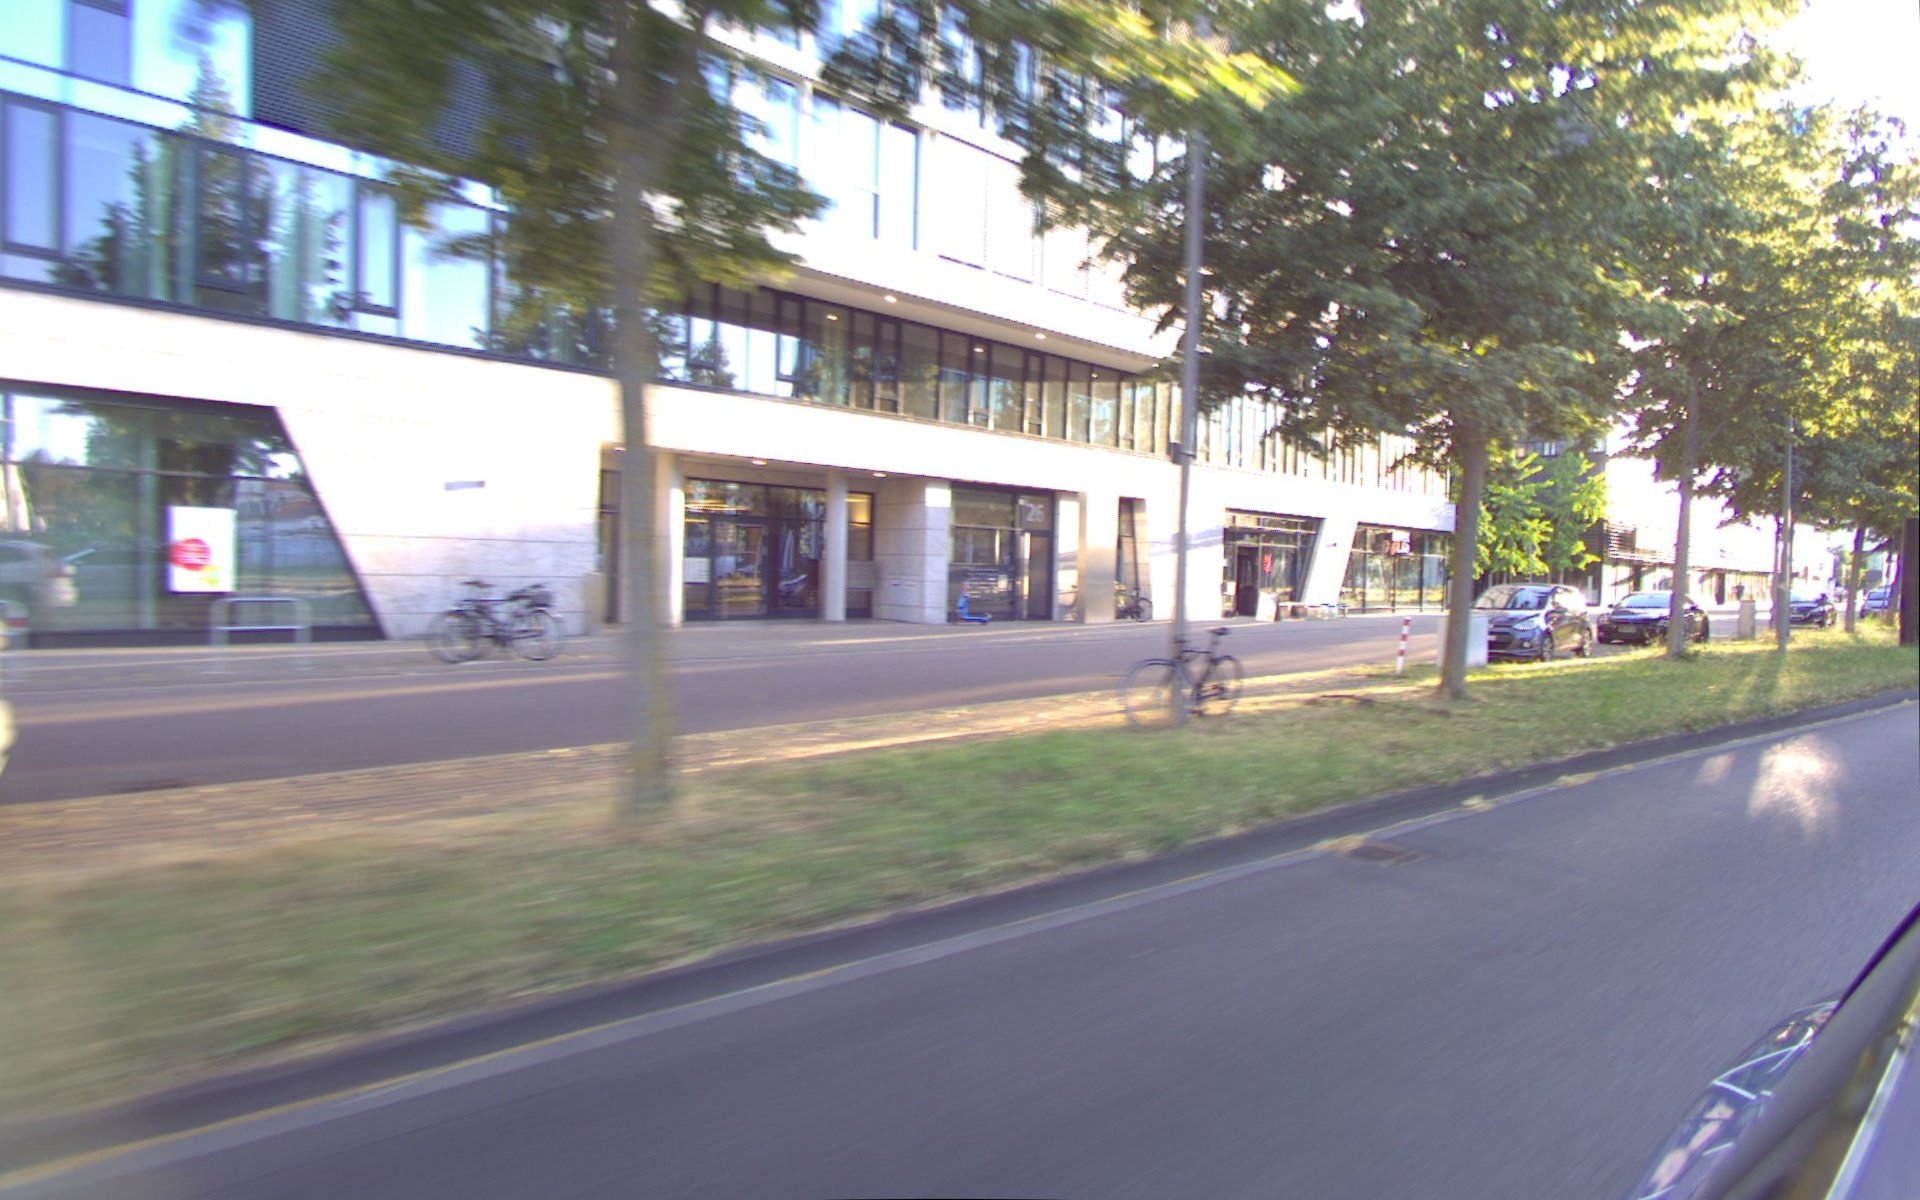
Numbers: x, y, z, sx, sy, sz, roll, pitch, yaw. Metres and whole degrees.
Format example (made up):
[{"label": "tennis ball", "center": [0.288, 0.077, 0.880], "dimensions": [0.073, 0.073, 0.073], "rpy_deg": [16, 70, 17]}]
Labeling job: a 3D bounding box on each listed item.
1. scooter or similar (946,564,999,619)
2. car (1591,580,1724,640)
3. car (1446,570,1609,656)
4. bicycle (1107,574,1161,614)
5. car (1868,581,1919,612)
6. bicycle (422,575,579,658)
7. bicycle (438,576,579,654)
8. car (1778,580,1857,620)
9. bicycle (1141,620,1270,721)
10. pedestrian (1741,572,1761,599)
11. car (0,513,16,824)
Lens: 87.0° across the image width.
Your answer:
[{"label": "scooter or similar", "center": [0.304, -0.206, 23.620], "dimensions": [1.207, 1.226, 0.473], "rpy_deg": [0, 2, -40]}, {"label": "car", "center": [18.141, 0.194, 26.228], "dimensions": [4.753, 1.384, 1.855], "rpy_deg": [-1, 2, -43]}, {"label": "car", "center": [11.190, 0.218, 19.880], "dimensions": [3.695, 1.534, 1.712], "rpy_deg": [0, 0, -42]}, {"label": "bicycle", "center": [4.731, -0.159, 27.493], "dimensions": [1.364, 1.040, 0.456], "rpy_deg": [1, 2, -14]}, {"label": "car", "center": [51.305, -0.217, 55.473], "dimensions": [3.992, 1.590, 1.841], "rpy_deg": [0, 1, -42]}, {"label": "bicycle", "center": [-6.245, 0.198, 13.818], "dimensions": [1.859, 1.052, 0.596], "rpy_deg": [0, 2, -40]}, {"label": "bicycle", "center": [-6.409, 0.190, 14.428], "dimensions": [1.775, 1.052, 0.471], "rpy_deg": [0, 2, -40]}, {"label": "car", "center": [33.589, 0.005, 39.630], "dimensions": [3.930, 1.513, 1.783], "rpy_deg": [0, -1, -41]}, {"label": "bicycle", "center": [2.317, 0.631, 9.446], "dimensions": [1.525, 0.833, 0.316], "rpy_deg": [0, 2, -40]}, {"label": "pedestrian", "center": [53.730, -1.010, 68.763], "dimensions": [0.897, 1.819, 0.898], "rpy_deg": [0, 2, -42]}, {"label": "car", "center": [-7.140, 0.383, 4.072], "dimensions": [4.793, 1.663, 1.997], "rpy_deg": [-1, 1, -41]}]
